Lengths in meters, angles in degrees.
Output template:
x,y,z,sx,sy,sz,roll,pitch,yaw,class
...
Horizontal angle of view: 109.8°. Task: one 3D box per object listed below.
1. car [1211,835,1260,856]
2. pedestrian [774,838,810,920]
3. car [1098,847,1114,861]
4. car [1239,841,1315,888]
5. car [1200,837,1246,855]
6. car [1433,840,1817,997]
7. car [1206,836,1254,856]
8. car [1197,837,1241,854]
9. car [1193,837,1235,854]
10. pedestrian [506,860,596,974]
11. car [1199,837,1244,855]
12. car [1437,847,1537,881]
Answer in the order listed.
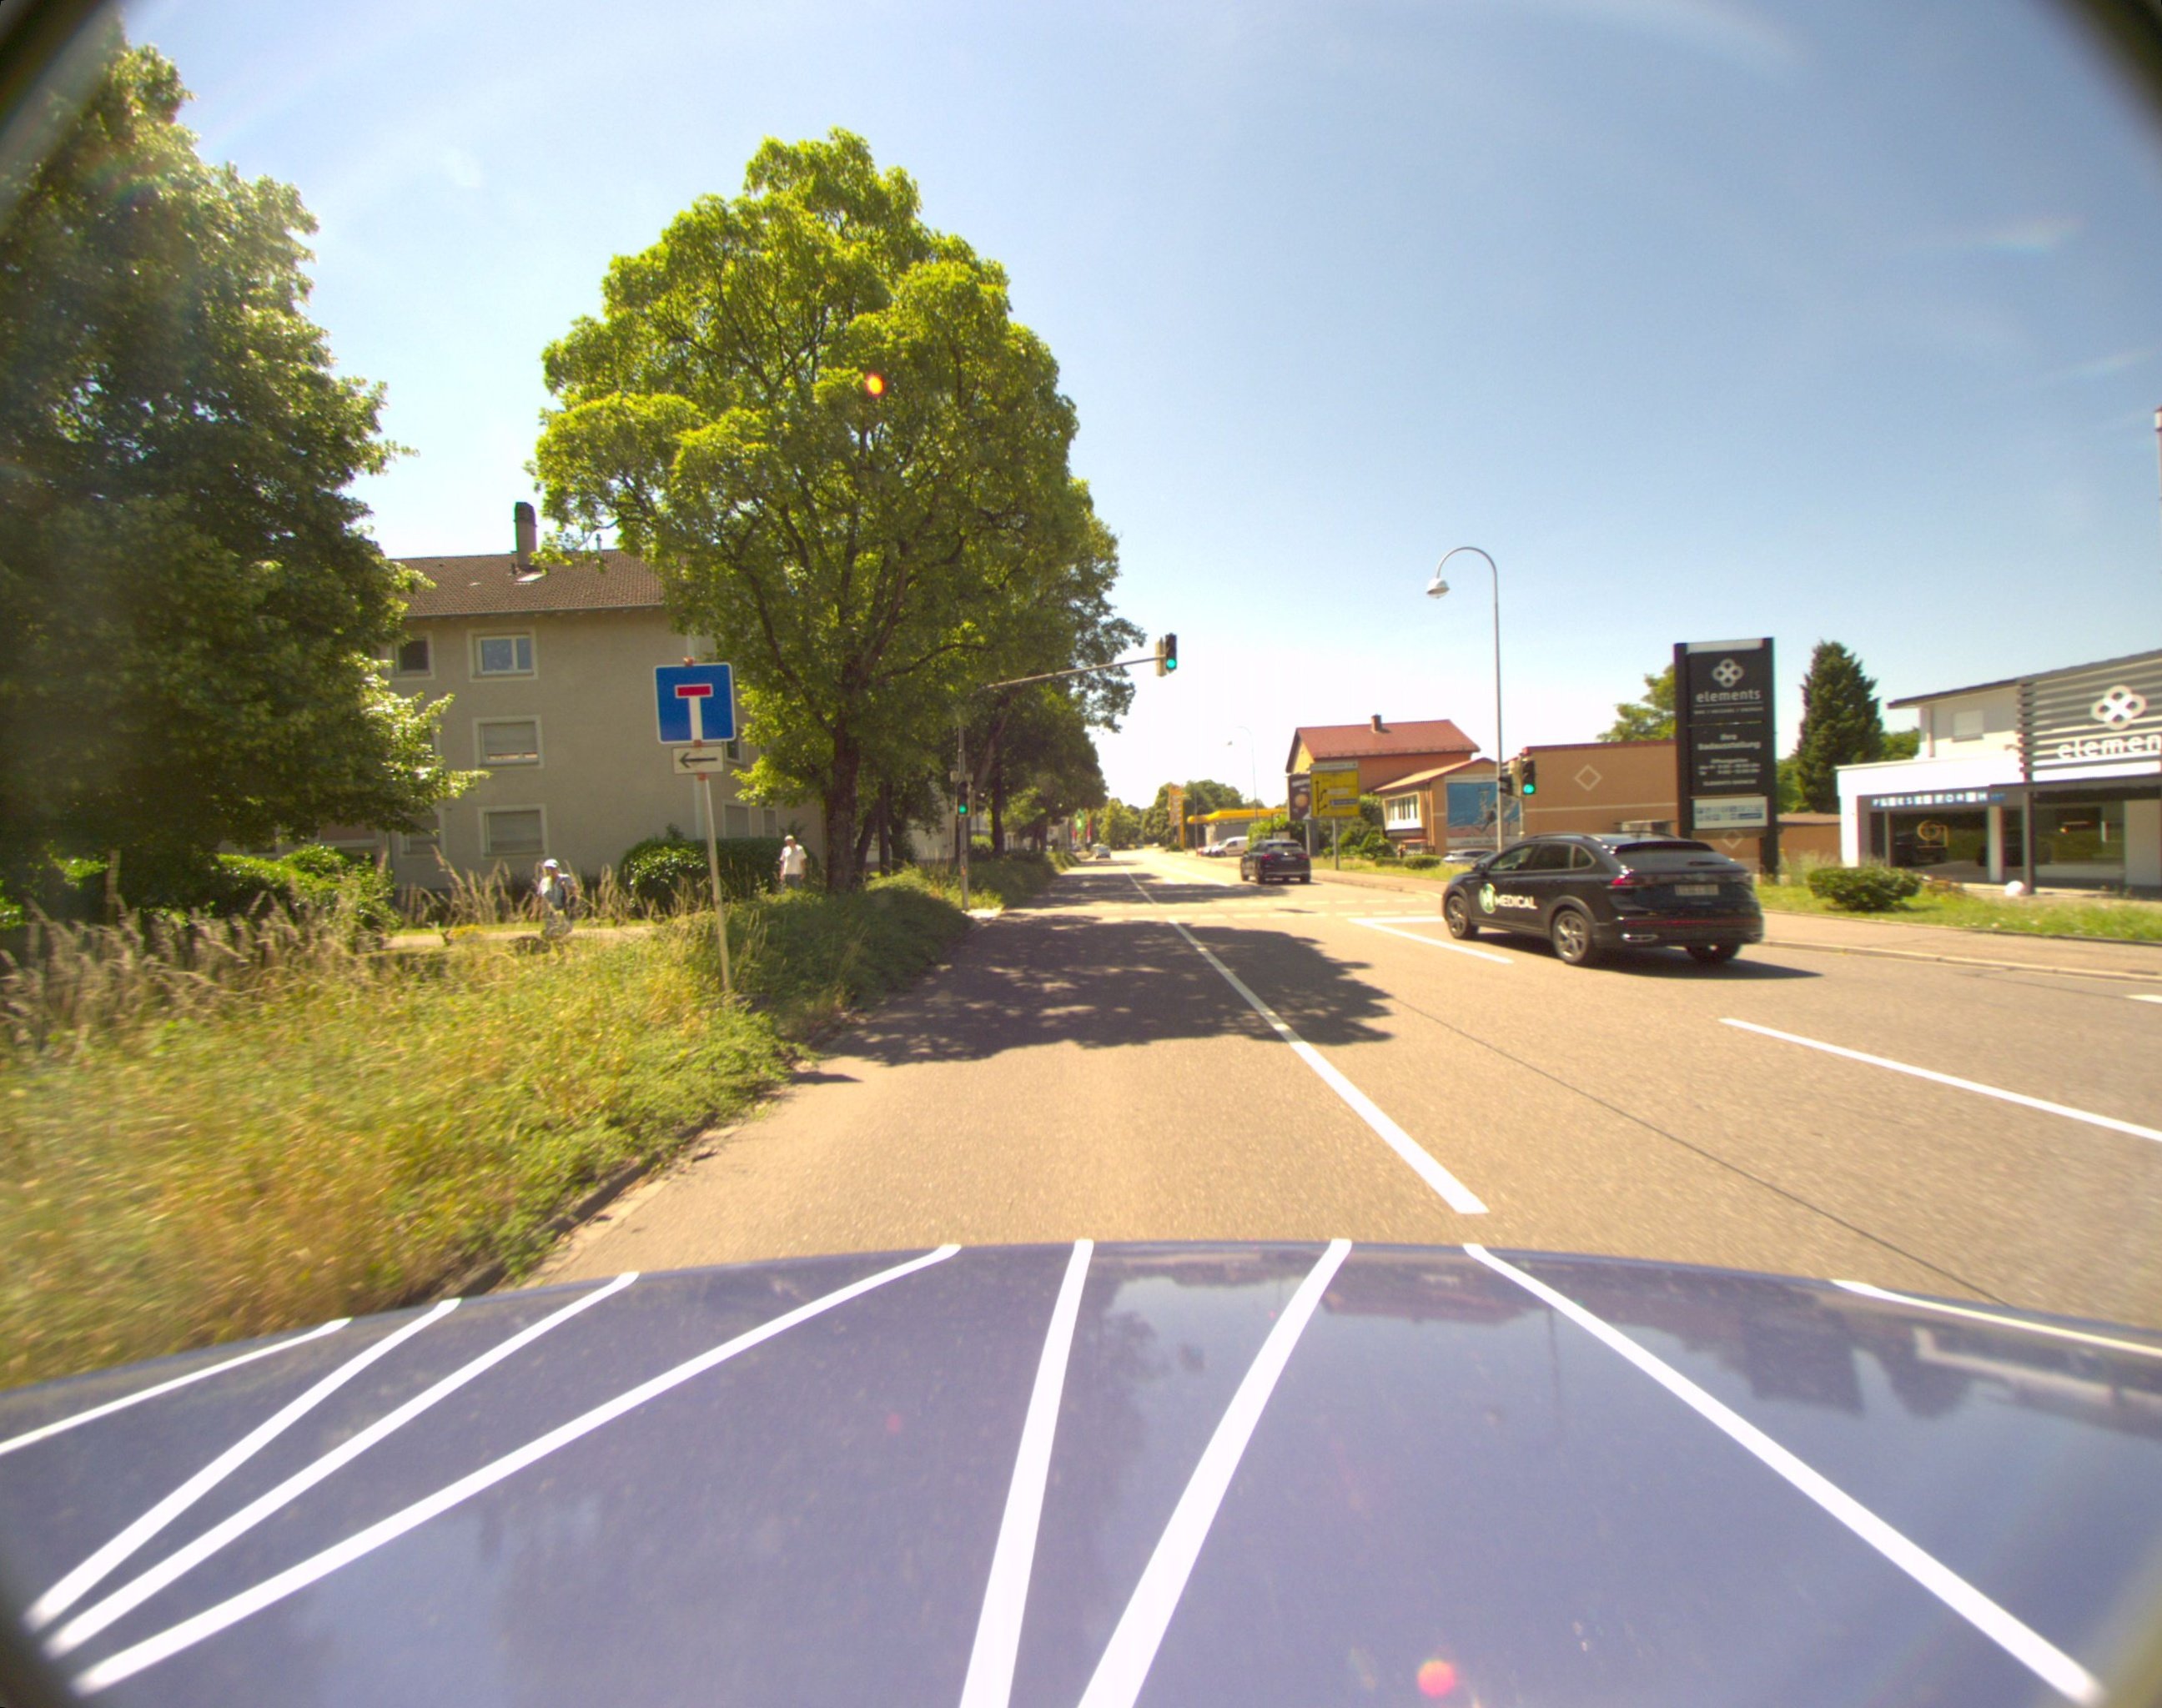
x,y,z,sx,sy,sz,roll,pitch,yaw,class
14.600,-0.840,71.902,4.191,1.858,1.874,-2,1,-3,car
-6.810,0.562,17.957,0.674,1.863,0.901,-2,1,-18,pedestrian
2.868,-0.049,86.332,1.771,1.521,4.130,-2,1,2,car
7.109,0.316,27.982,1.930,1.546,4.303,-1,1,4,car
14.667,-0.801,78.548,4.401,1.750,1.874,-2,1,-3,car
6.322,0.606,9.536,1.874,1.498,4.051,-2,1,-1,car
14.486,-0.782,74.094,4.246,1.750,1.874,-2,1,-3,car
15.021,-0.924,83.087,4.401,1.750,1.874,-2,1,-3,car
14.932,-0.936,85.438,4.401,1.750,1.874,-2,1,-3,car
-7.957,0.917,11.444,0.720,1.624,0.851,-2,1,-6,pedestrian
14.950,-0.861,80.801,4.401,1.750,1.874,-2,1,-3,car
21.028,0.500,39.518,4.223,1.599,1.772,-1,1,10,car
